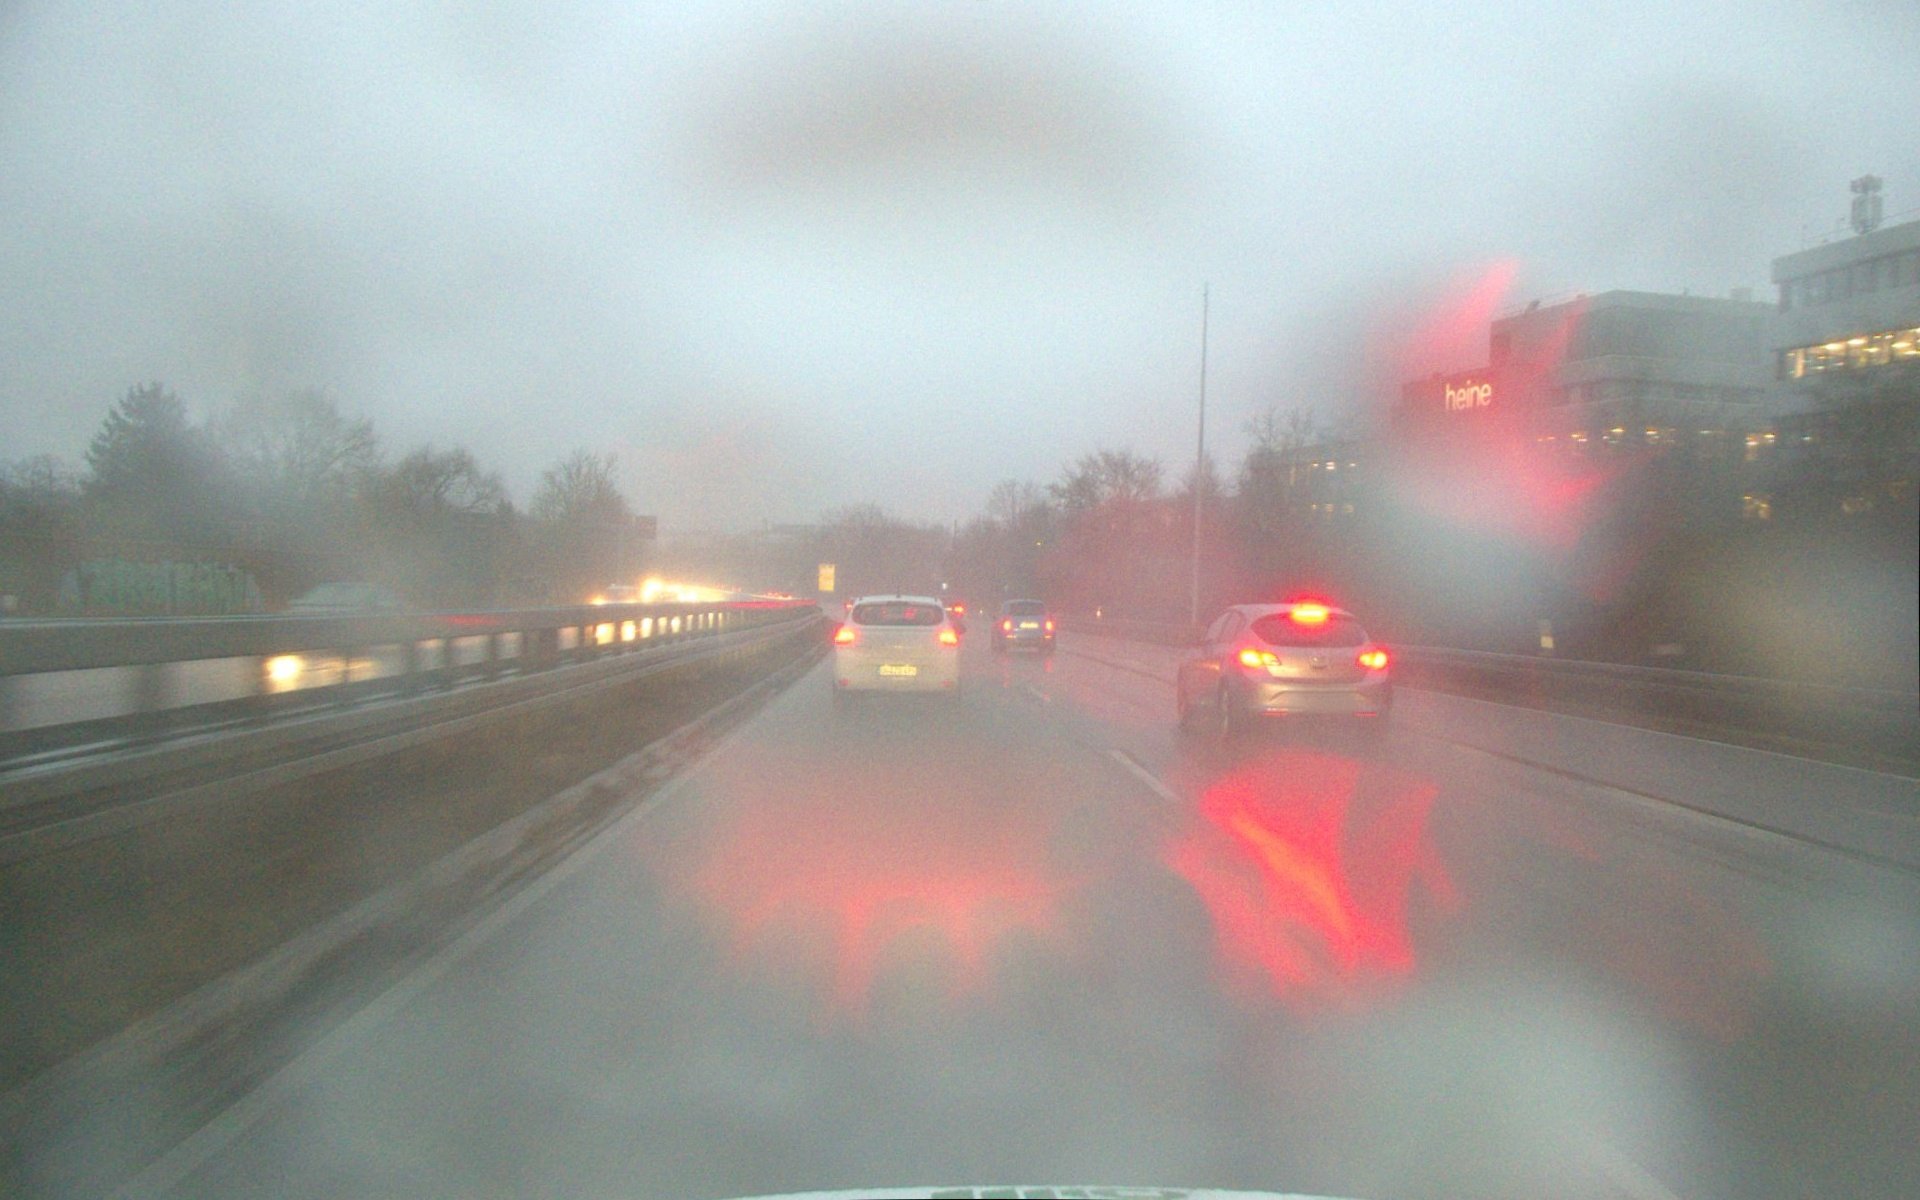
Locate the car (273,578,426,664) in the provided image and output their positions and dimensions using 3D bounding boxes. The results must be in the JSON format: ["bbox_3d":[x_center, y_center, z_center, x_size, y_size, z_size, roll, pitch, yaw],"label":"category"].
[{"bbox_3d":[-12.473,0.412,34.046,1.692,1.635,4.177,1,0,-2],"label":"car"}]

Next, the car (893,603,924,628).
[{"bbox_3d":[-3.471,1.018,110.366,1.894,1.573,3.770,1,0,-4],"label":"car"}]

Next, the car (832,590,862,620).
[{"bbox_3d":[-8.053,0.381,118.382,1.953,2.049,3.999,1,0,-2],"label":"car"}]

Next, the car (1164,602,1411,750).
[{"bbox_3d":[3.707,0.809,19.519,1.813,1.528,4.259,1,0,-4],"label":"car"}]

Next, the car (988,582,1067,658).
[{"bbox_3d":[1.901,0.559,47.407,1.894,2.055,3.771,1,0,-3],"label":"car"}]

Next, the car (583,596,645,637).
[{"bbox_3d":[-14.738,0.687,70.717,1.829,1.656,4.776,1,0,-3],"label":"car"}]

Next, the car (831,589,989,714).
[{"bbox_3d":[-0.796,0.678,23.558,1.985,1.602,3.995,1,0,-5],"label":"car"}]

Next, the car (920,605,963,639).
[{"bbox_3d":[-0.998,1.136,87.009,1.895,1.573,3.769,-5,0,-5],"label":"car"}]
